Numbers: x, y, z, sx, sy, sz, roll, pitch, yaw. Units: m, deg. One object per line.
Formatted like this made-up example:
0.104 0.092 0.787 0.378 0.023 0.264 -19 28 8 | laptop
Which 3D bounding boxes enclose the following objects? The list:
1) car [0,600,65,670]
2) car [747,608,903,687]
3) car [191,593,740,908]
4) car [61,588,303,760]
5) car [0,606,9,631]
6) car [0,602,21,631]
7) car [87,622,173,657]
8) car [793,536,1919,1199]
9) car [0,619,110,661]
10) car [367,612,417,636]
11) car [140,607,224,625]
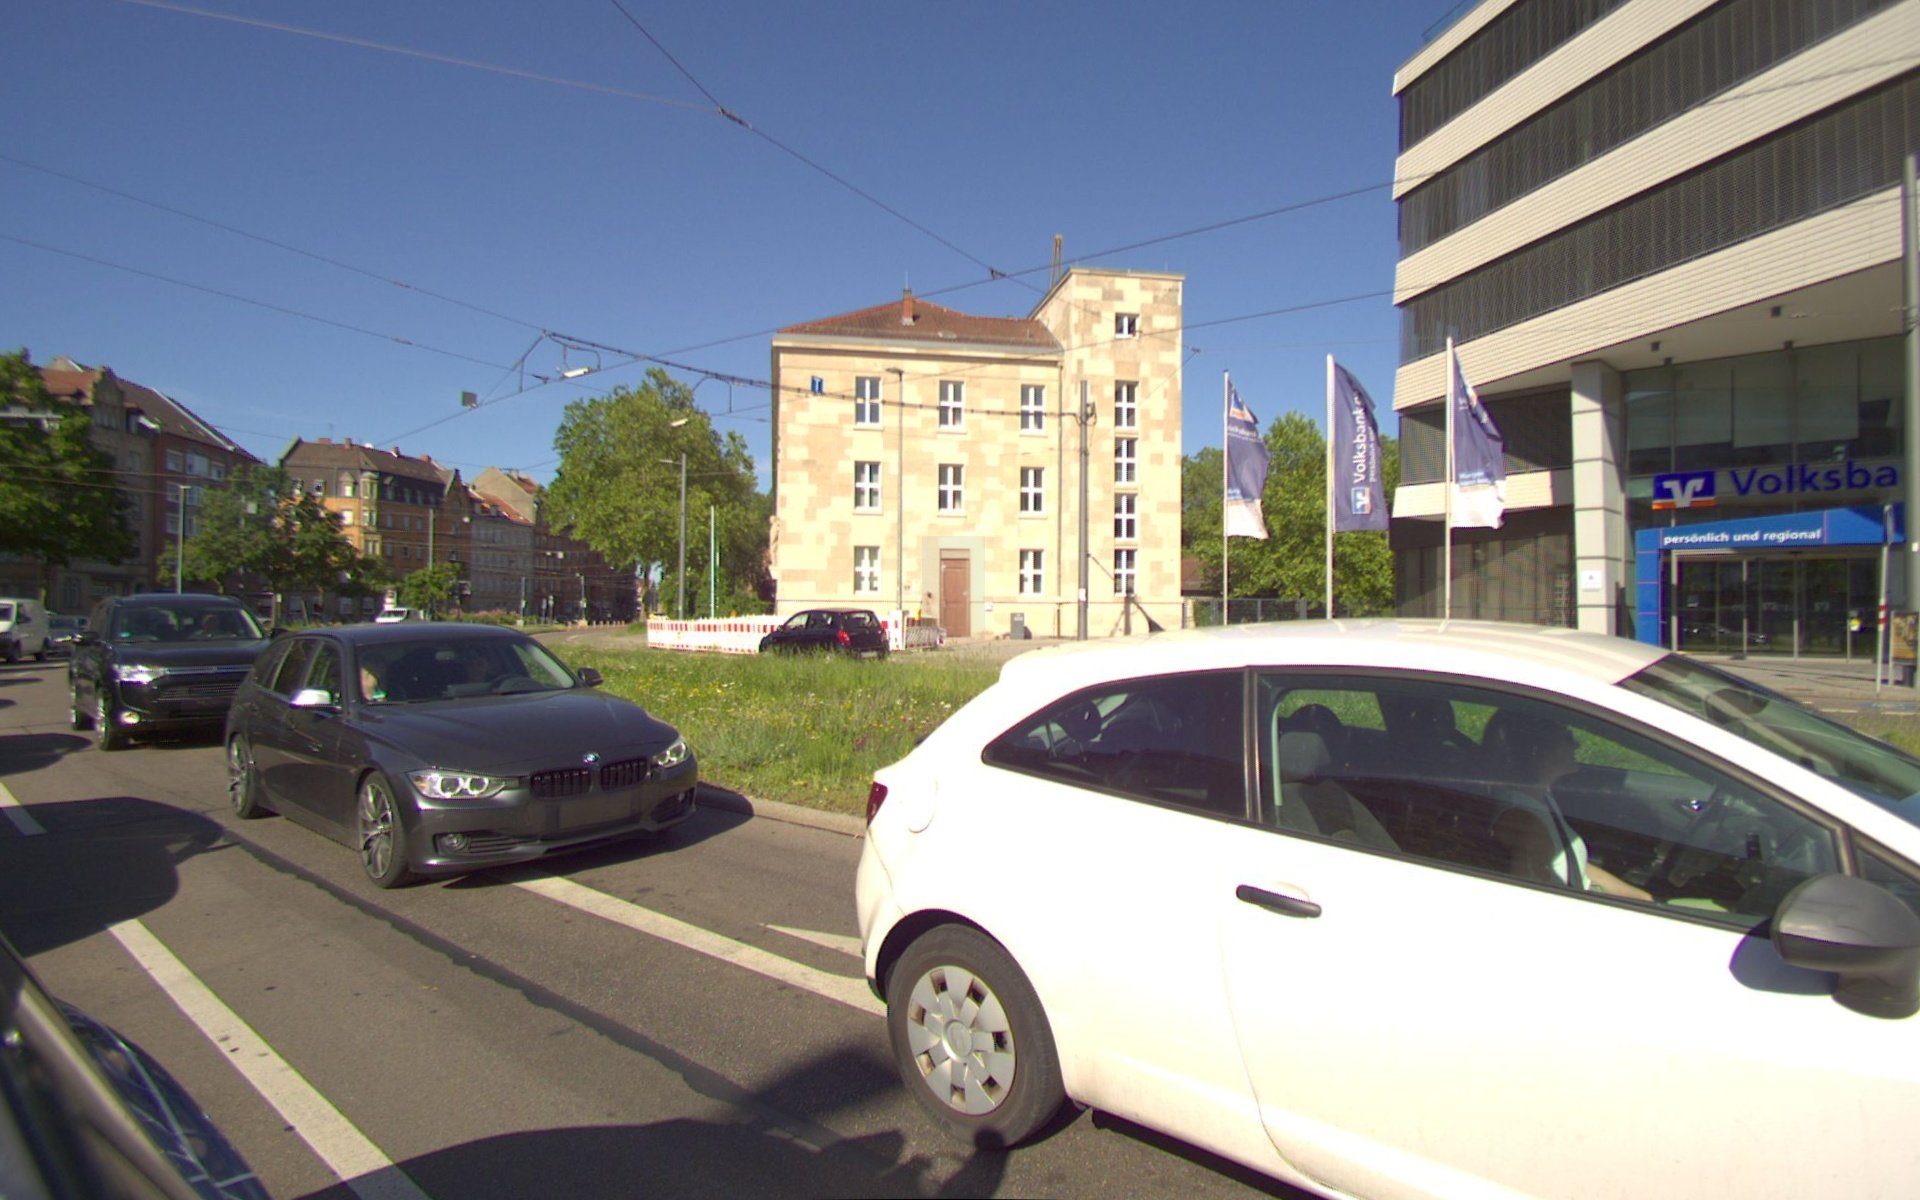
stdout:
-29.322 1.033 30.845 1.842 1.997 4.670 1 -1 -26 | car
-3.356 1.110 24.760 1.744 1.763 4.002 1 -2 -45 | car
-3.564 0.711 6.827 4.483 1.441 1.816 -1 0 42 | car
-9.449 0.751 12.148 4.329 1.697 1.744 -1 0 45 | car
-49.781 0.903 49.670 4.329 1.243 2.004 1 -1 -37 | car
-51.466 0.845 52.108 4.329 1.472 2.004 1 -2 -37 | car
-35.565 1.646 43.472 1.799 1.395 4.670 1 -1 -26 | car
1.493 0.606 2.423 3.834 1.441 1.647 -1 1 41 | car
-32.330 1.372 36.213 1.842 1.395 4.670 1 -1 -26 | car
-38.613 1.637 68.906 1.844 1.568 4.009 0 -1 -11 | car
-53.754 1.101 70.000 2.000 1.219 4.338 -1 -2 43 | car
